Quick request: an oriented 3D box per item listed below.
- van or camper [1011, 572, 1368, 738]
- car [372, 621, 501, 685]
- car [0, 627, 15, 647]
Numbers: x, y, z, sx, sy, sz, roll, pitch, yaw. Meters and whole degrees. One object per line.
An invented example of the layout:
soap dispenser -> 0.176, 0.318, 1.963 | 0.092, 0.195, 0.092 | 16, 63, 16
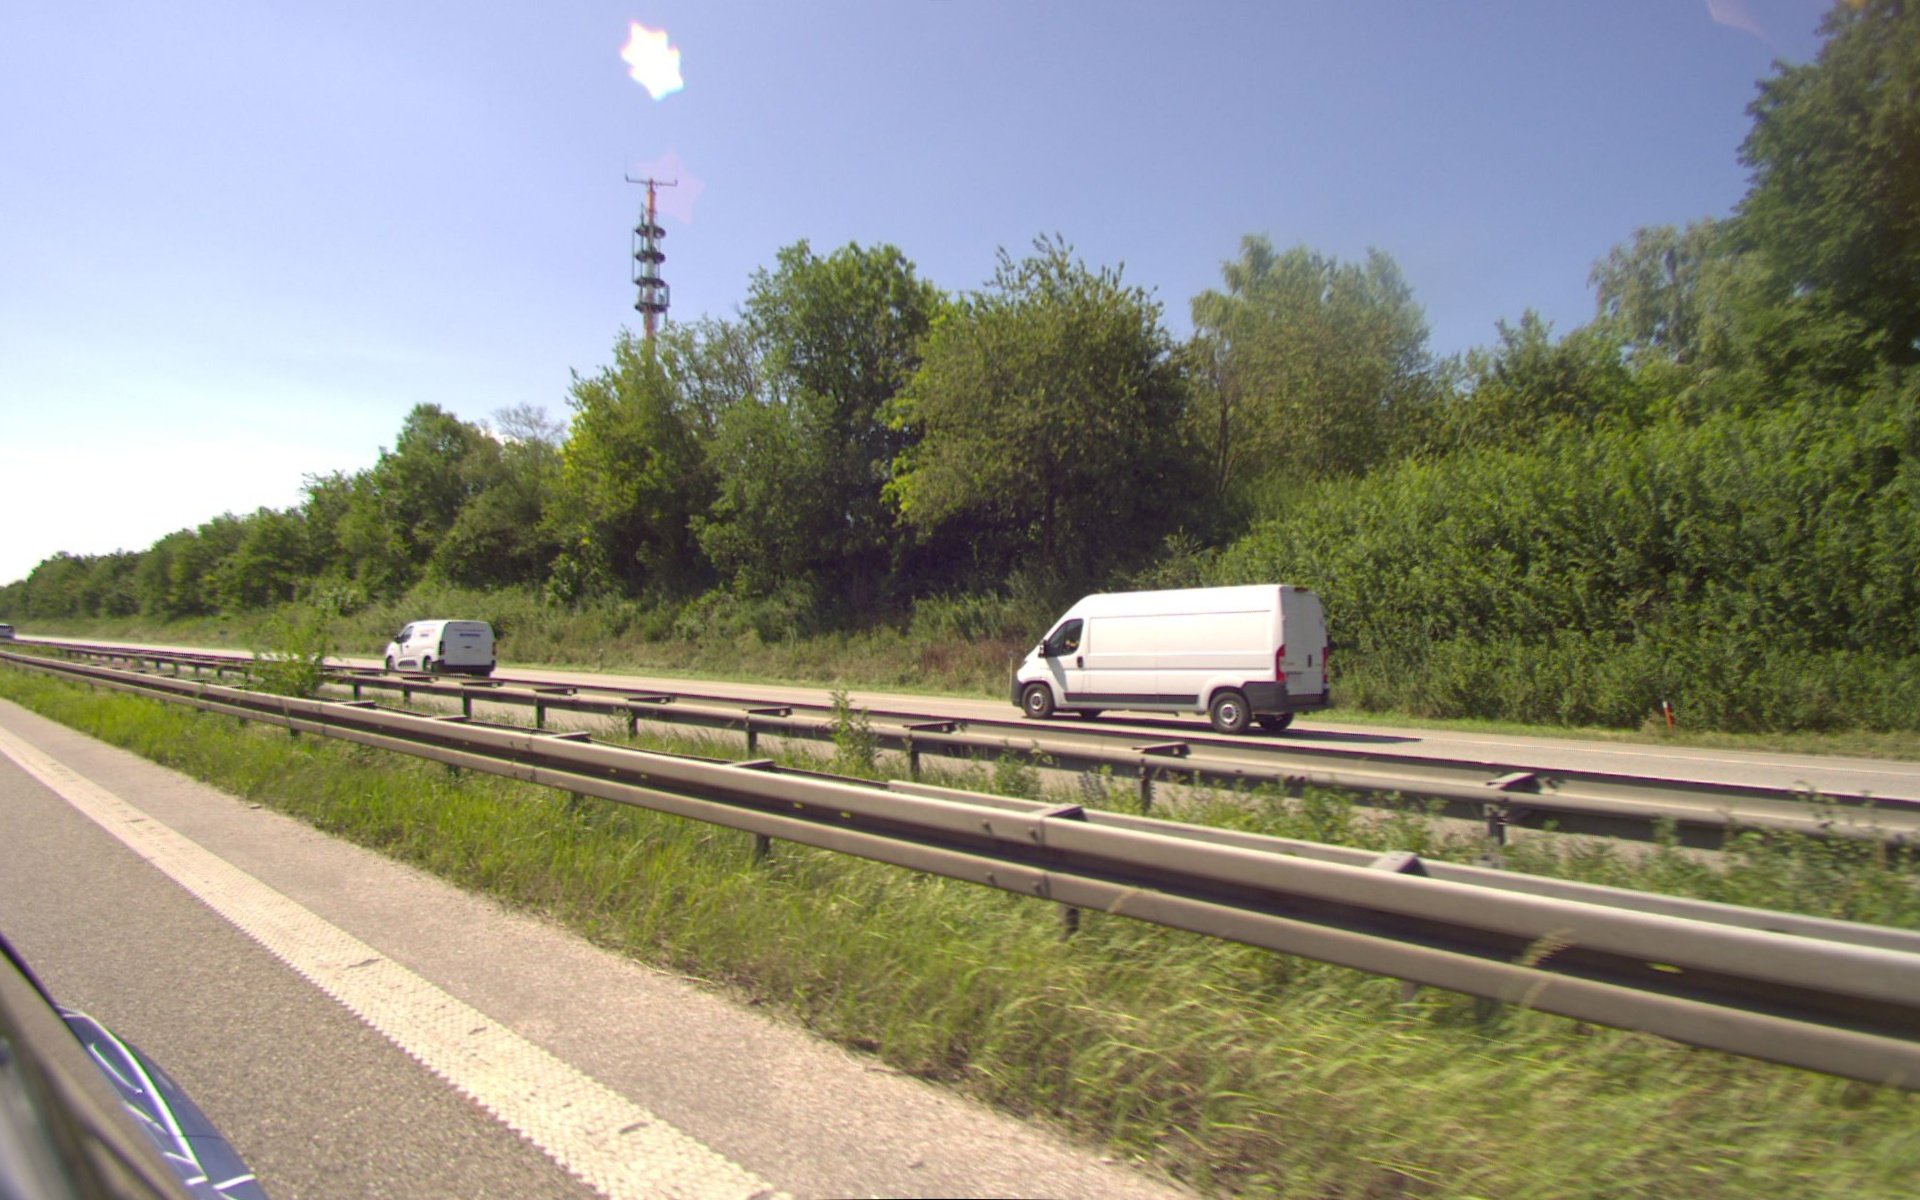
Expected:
van or camper -> 3.989, 0.962, 18.586 | 6.195, 2.579, 2.016 | -1, -4, 41
car -> -16.258, 1.607, 31.312 | 5.166, 1.844, 1.727 | -1, -4, 41
car -> -82.023, 3.134, 86.197 | 3.912, 1.629, 1.793 | -1, -4, 41
